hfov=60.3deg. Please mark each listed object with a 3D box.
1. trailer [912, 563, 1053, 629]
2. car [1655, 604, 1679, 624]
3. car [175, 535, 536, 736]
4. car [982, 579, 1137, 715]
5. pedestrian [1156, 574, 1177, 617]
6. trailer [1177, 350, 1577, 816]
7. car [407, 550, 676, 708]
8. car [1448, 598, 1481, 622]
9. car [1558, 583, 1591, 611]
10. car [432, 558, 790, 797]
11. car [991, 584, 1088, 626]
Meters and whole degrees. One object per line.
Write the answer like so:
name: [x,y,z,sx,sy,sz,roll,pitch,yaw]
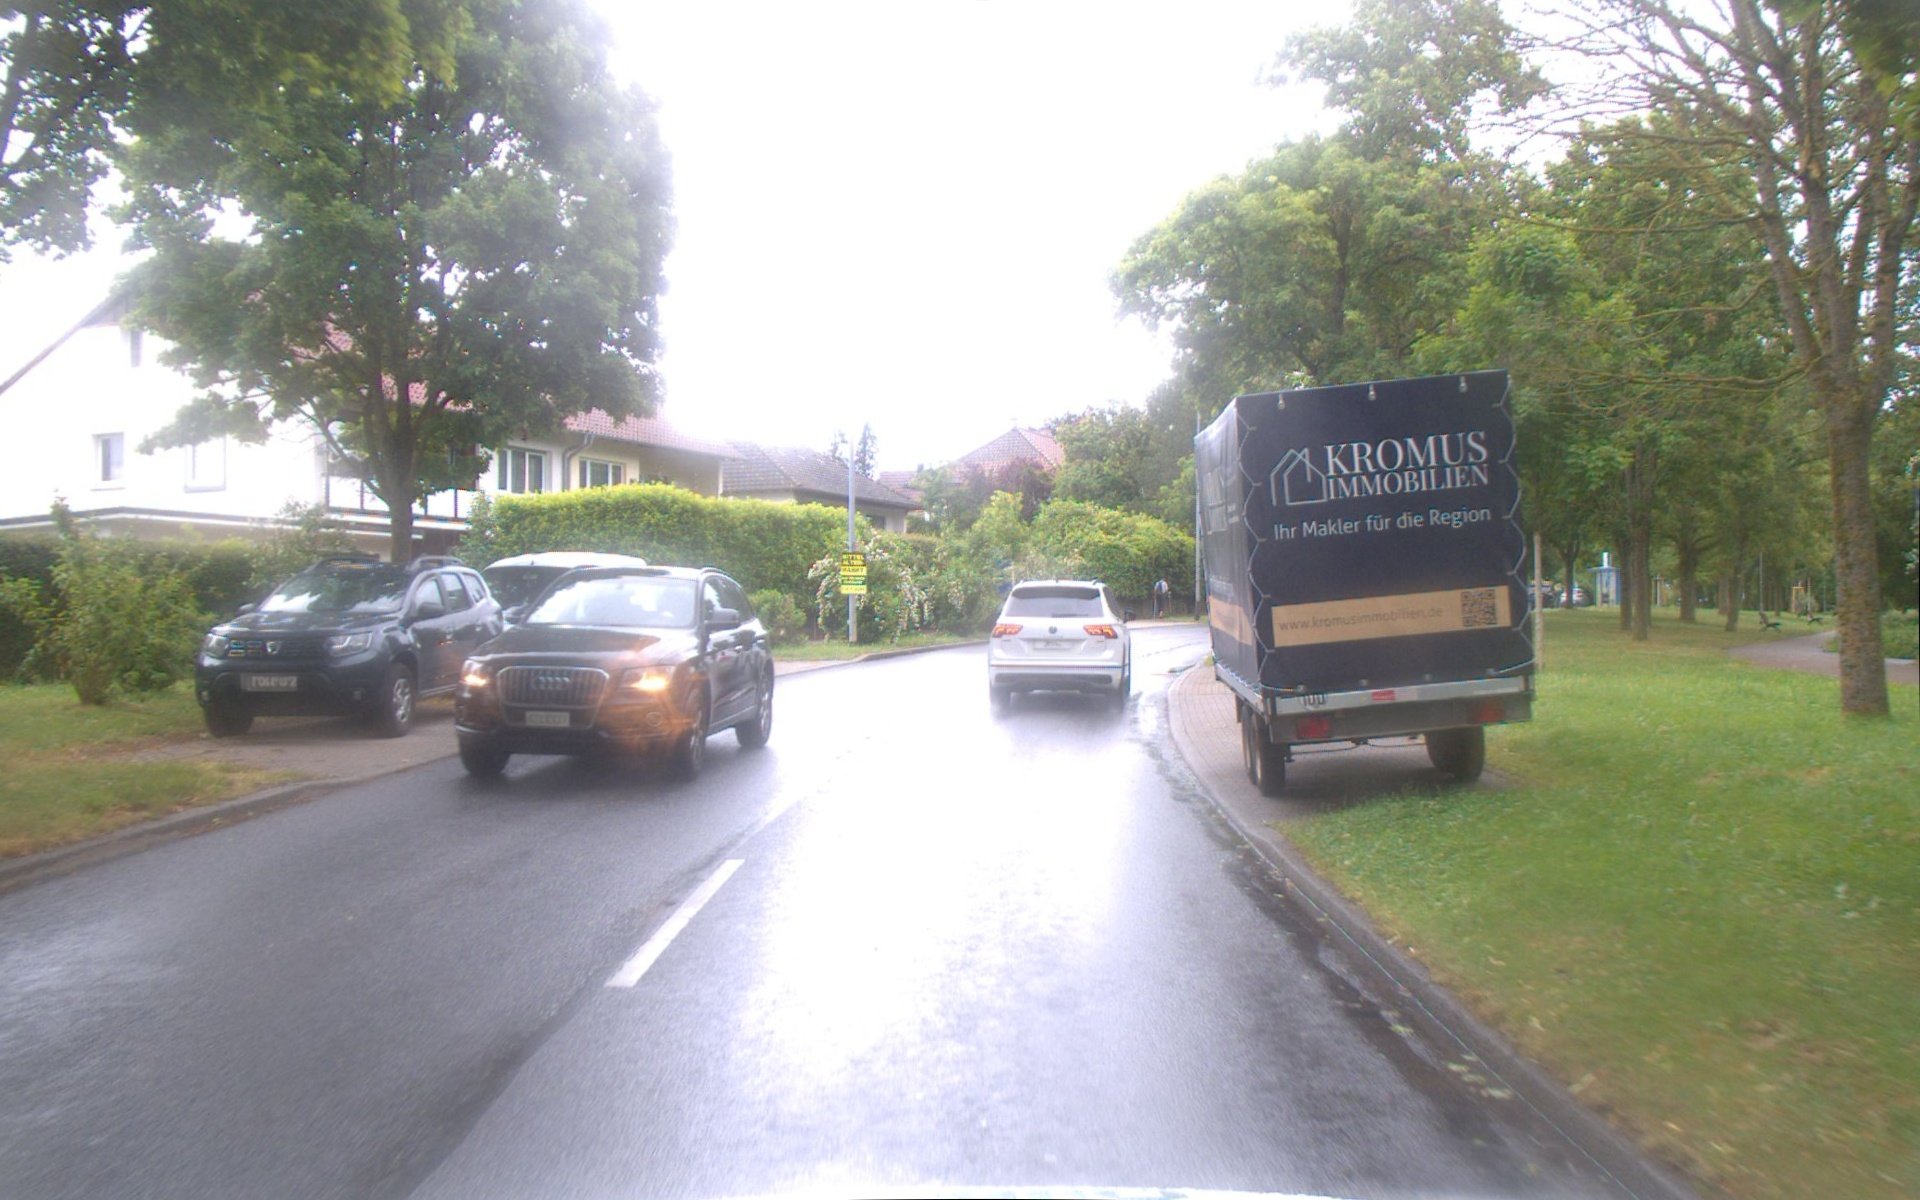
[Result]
trailer: [0.775,-0.146,57.389,4.526,2.209,1.814,1,0,23]
car: [69.207,1.384,161.918,1.952,1.839,4.000,2,-1,21]
car: [-5.807,0.324,16.558,1.714,1.669,4.593,2,-1,2]
car: [1.466,0.592,22.974,1.932,1.682,4.180,1,0,6]
pedestrian: [8.182,-0.179,65.572,0.760,1.691,0.844,1,1,12]
trailer: [3.068,-0.112,13.548,1.952,2.856,5.611,-5,0,4]
car: [-5.354,0.337,21.790,1.760,1.827,4.376,1,0,10]
car: [32.909,0.627,107.748,1.551,1.503,3.894,-1,0,25]
car: [44.879,-0.217,120.822,1.954,1.836,3.997,2,-1,24]
car: [-2.787,0.539,14.279,1.813,1.721,4.408,0,1,5]
car: [3.053,0.170,63.608,3.334,1.545,1.730,1,0,23]
